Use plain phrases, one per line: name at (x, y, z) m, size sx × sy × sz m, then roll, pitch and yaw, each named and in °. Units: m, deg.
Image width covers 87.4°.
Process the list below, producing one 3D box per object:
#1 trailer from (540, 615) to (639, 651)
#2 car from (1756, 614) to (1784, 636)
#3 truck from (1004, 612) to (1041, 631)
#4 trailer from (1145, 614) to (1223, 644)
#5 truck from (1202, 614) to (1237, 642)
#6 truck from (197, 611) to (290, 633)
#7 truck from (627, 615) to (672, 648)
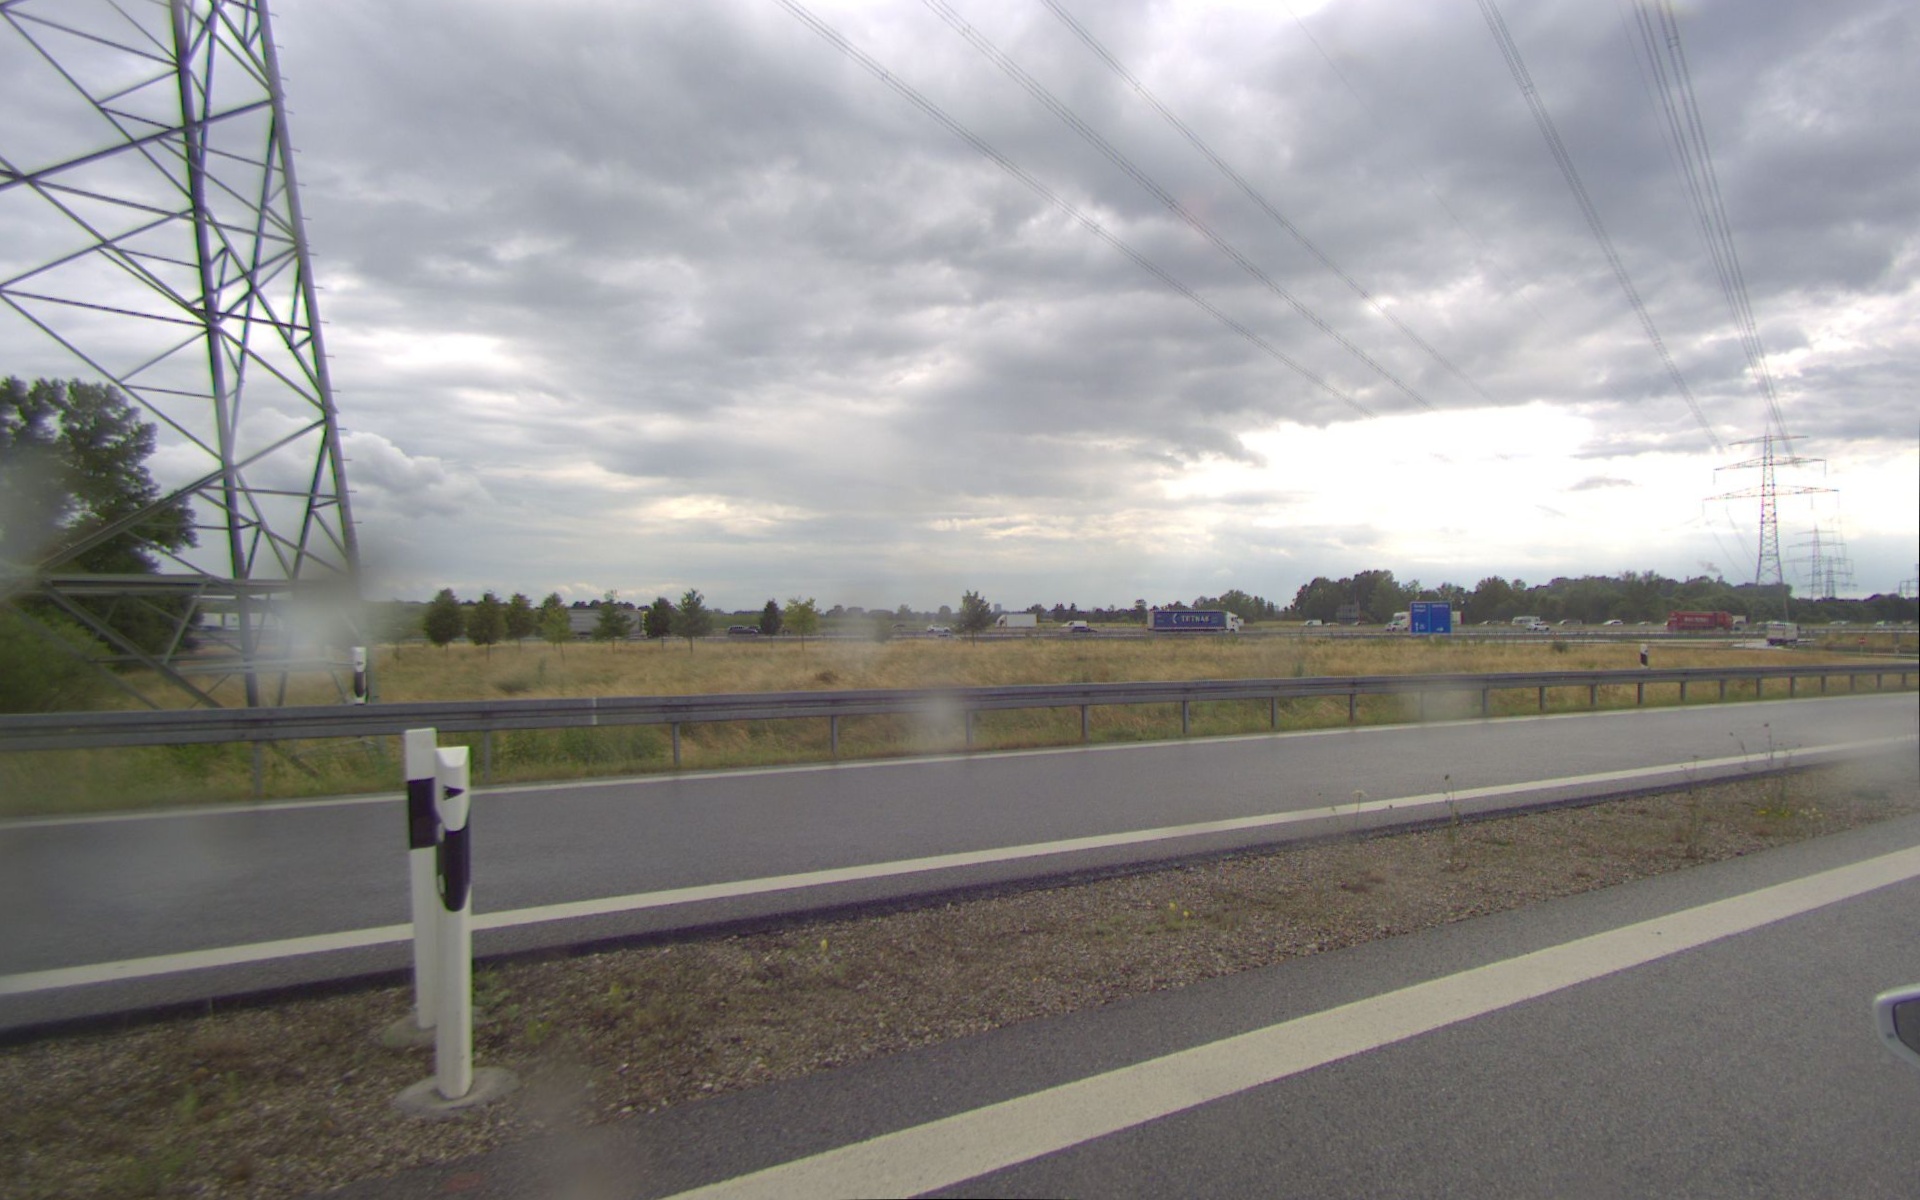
trailer at (-53.808, 4.758, 146.374) m, size 13.171 × 4.678 × 3.472 m, roll -1°, pitch 0°, yaw -16°
car at (136.247, 4.182, 168.927) m, size 3.345 × 3.658 × 8.998 m, roll -1°, pitch -2°, yaw 41°
truck at (12.417, 4.196, 198.837) m, size 6.988 × 3.517 × 1.994 m, roll -1°, pitch 0°, yaw -14°
trailer at (38.291, 4.895, 171.732) m, size 13.084 × 4.698 × 3.047 m, roll -1°, pitch 0°, yaw -16°
truck at (44.790, 4.776, 173.644) m, size 4.989 × 4.540 × 3.068 m, roll -1°, pitch 0°, yaw -16°
truck at (-116.675, 3.535, 163.763) m, size 11.844 × 3.133 × 3.222 m, roll -1°, pitch 0°, yaw -15°
truck at (-45.928, 4.562, 148.616) m, size 6.164 × 4.627 × 3.340 m, roll -1°, pitch 0°, yaw -16°
